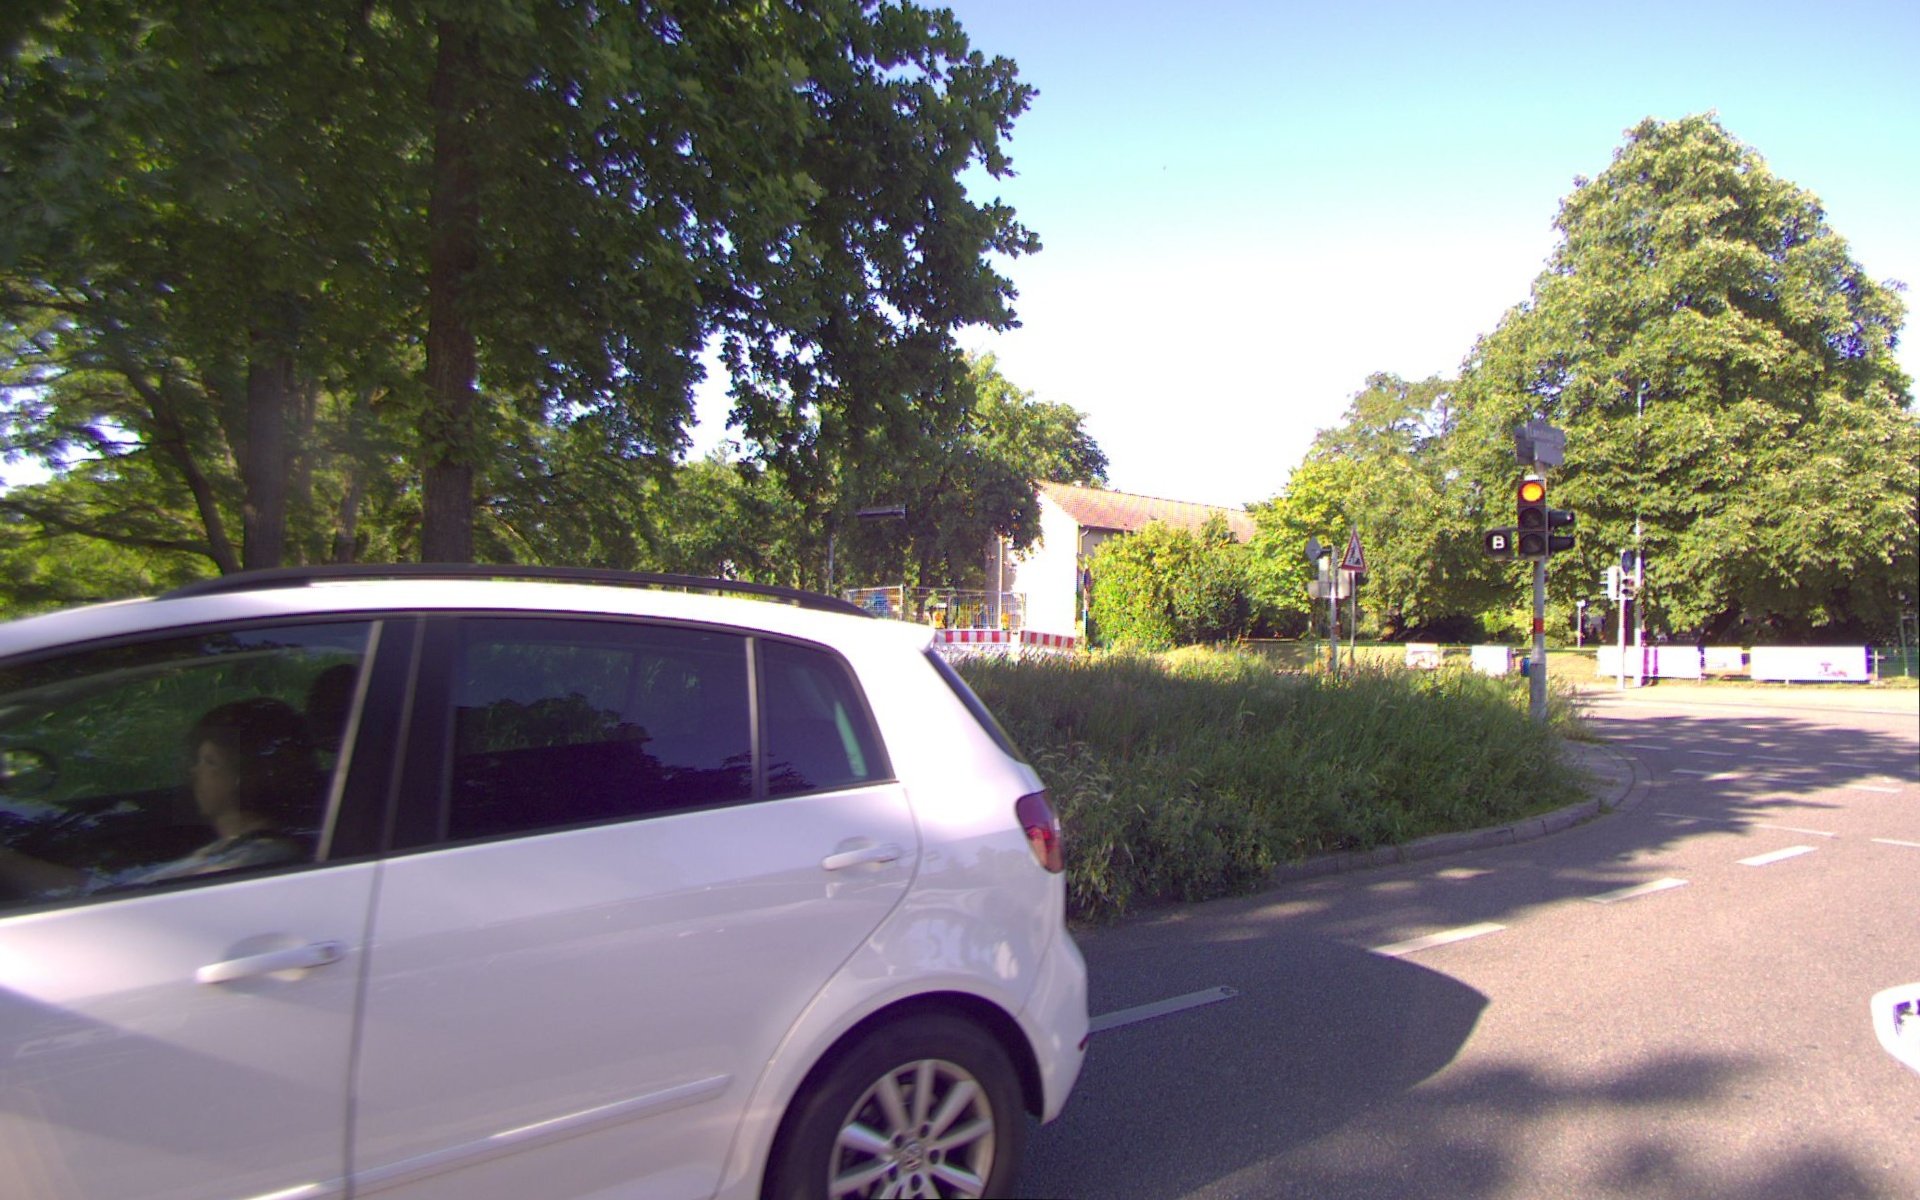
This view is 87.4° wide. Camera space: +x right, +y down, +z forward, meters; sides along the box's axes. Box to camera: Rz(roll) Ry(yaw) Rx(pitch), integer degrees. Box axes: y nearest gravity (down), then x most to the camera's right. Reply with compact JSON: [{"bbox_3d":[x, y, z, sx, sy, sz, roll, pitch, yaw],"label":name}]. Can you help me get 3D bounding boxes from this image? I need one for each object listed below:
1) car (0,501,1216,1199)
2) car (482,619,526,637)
[{"bbox_3d":[-1.553,0.669,2.260,4.071,1.584,1.744,2,-1,-30],"label":"car"},{"bbox_3d":[-47.386,2.888,104.488,3.939,1.673,1.991,2,0,-20],"label":"car"}]
